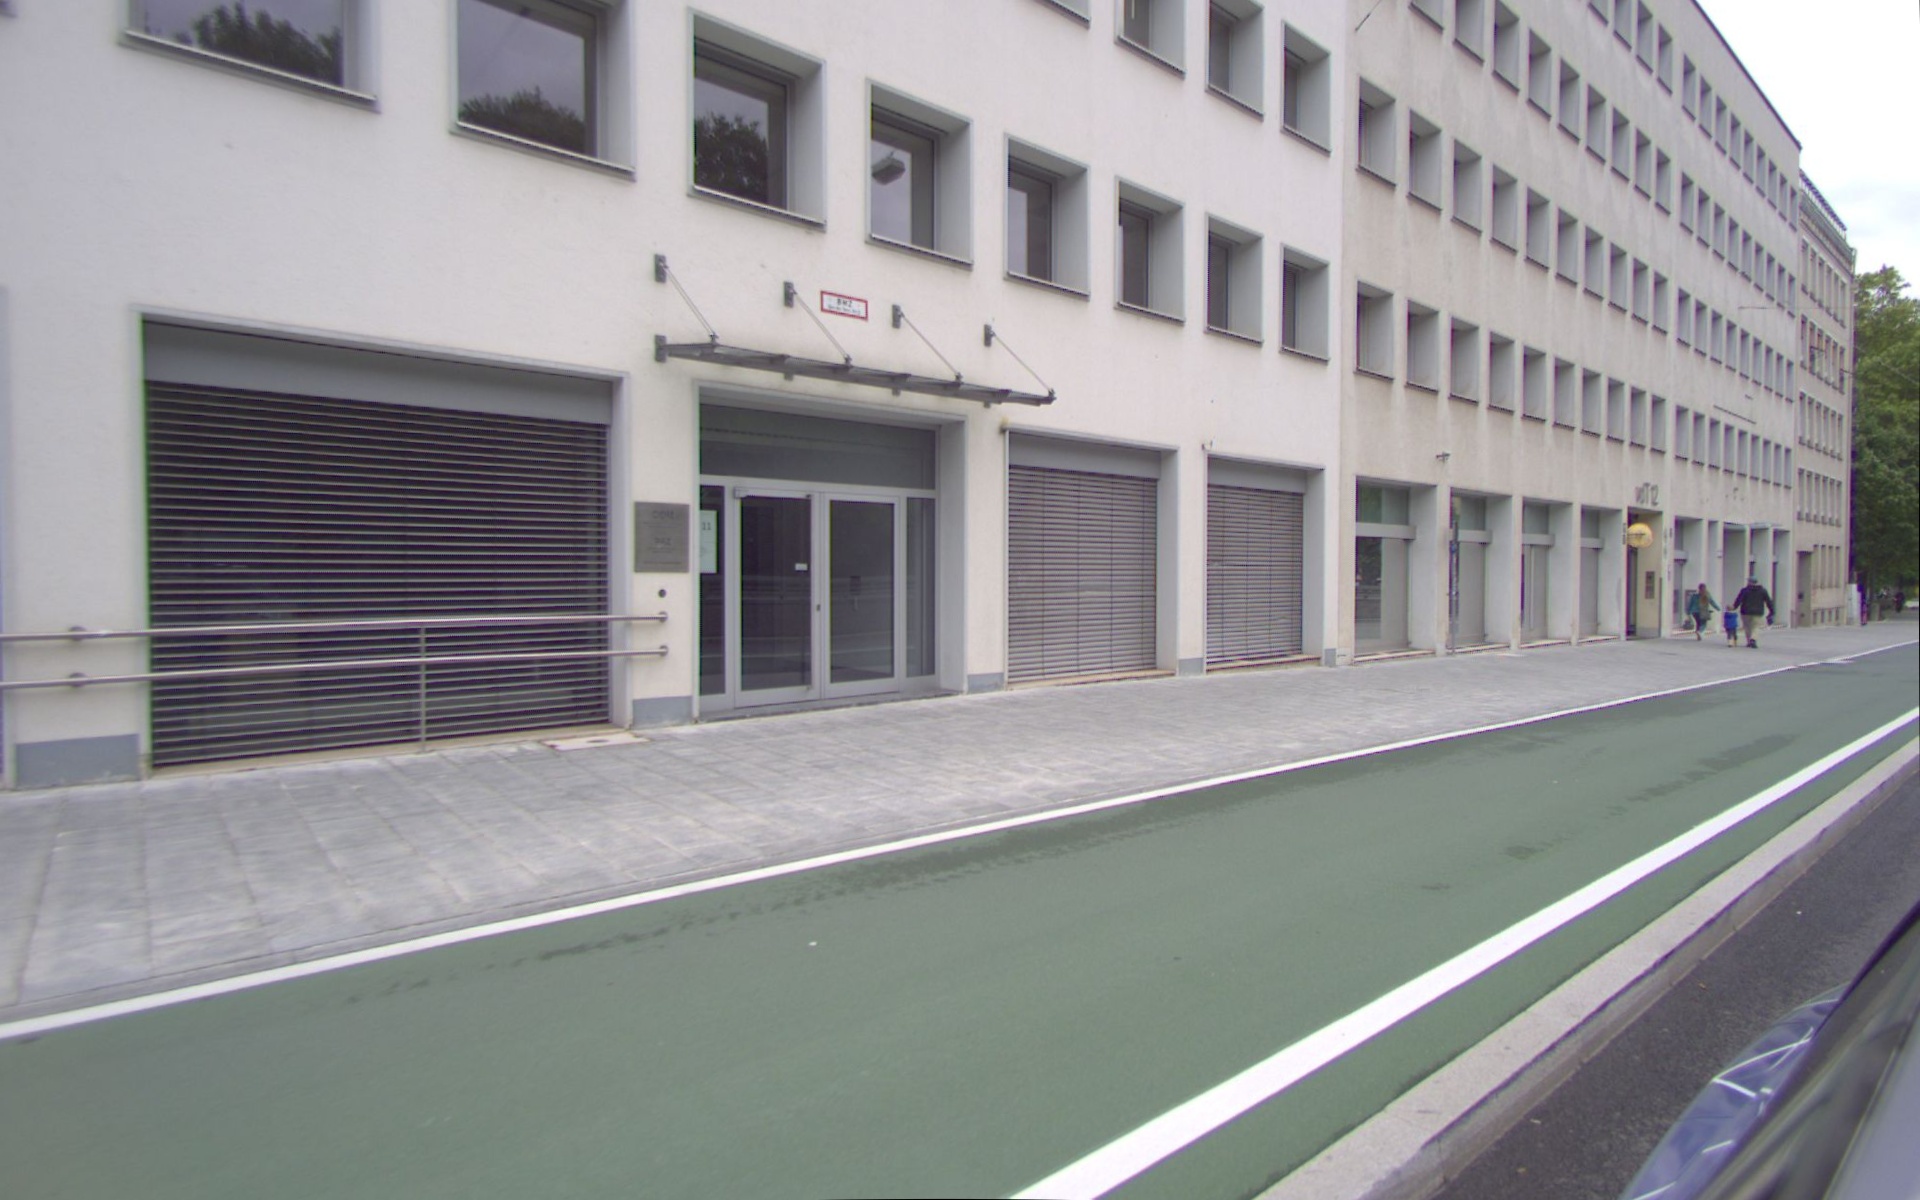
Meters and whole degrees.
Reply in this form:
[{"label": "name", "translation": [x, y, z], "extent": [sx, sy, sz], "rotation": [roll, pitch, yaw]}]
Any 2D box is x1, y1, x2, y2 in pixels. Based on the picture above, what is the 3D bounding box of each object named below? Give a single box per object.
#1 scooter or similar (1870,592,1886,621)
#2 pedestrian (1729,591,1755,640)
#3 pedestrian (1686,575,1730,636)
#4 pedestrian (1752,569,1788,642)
[{"label": "scooter or similar", "translation": [43.836, 0.304, 48.310], "extent": [1.100, 1.288, 0.387], "rotation": [-2, 4, -41]}, {"label": "pedestrian", "translation": [20.552, 0.402, 26.585], "extent": [0.461, 1.261, 0.368], "rotation": [-1, 5, -40]}, {"label": "pedestrian", "translation": [21.158, 0.134, 28.625], "extent": [0.691, 1.639, 0.754], "rotation": [-1, 5, -40]}, {"label": "pedestrian", "translation": [21.150, 0.140, 26.429], "extent": [0.591, 1.857, 0.514], "rotation": [-1, 5, -40]}]
